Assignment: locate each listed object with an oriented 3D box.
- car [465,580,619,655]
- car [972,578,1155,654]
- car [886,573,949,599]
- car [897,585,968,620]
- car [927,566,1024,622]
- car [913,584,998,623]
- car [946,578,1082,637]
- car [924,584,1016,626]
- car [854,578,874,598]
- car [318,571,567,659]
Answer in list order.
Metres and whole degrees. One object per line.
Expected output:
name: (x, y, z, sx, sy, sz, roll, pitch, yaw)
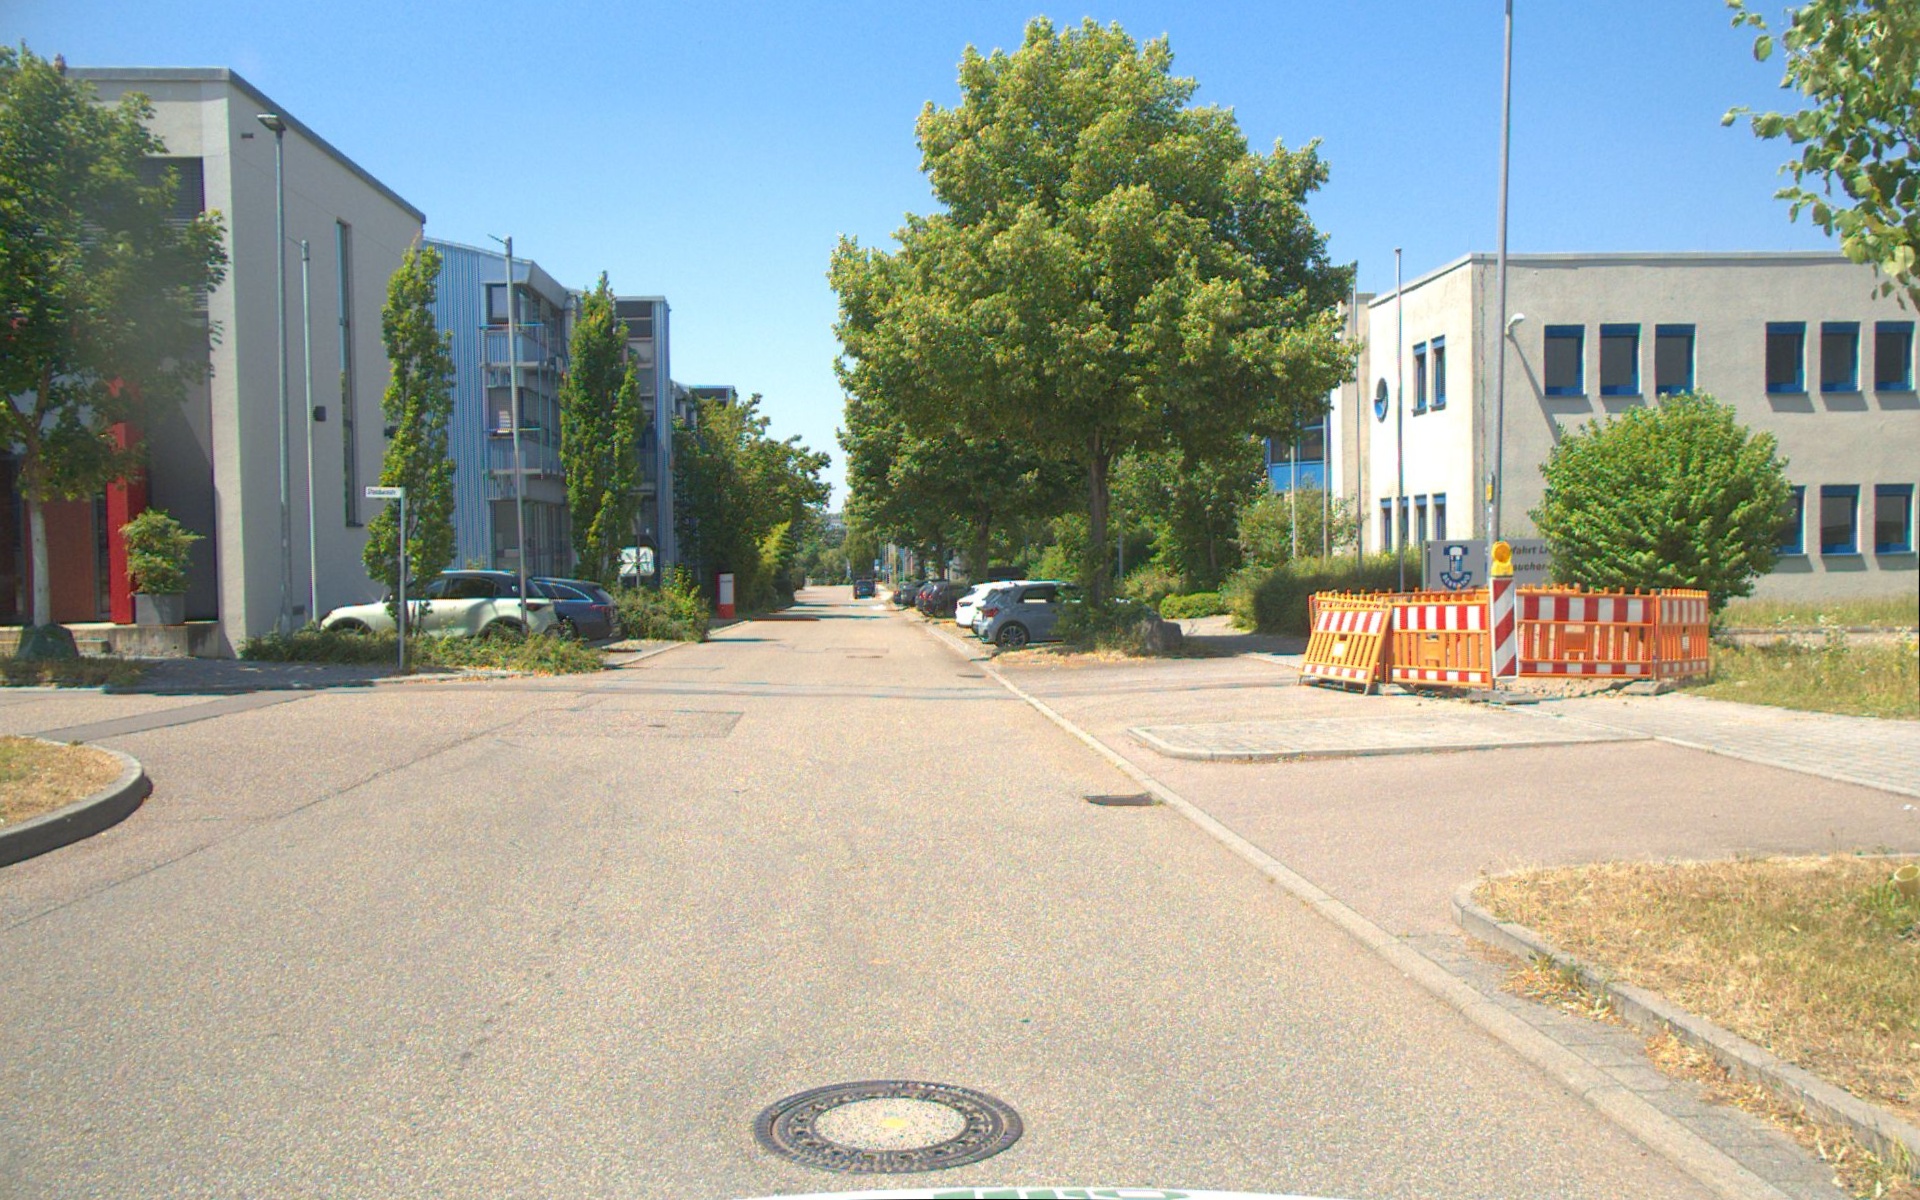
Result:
car: (-8.630, 0.355, 34.328, 3.002, 1.504, 1.289, 0, 0, -11)
car: (2.194, 0.329, 35.436, 3.611, 1.378, 1.642, -3, 0, -8)
car: (-2.744, -0.919, 106.958, 3.862, 1.604, 1.763, 0, 4, -11)
car: (-1.582, 0.138, 94.818, 3.862, 1.866, 1.763, 0, 4, -11)
car: (0.596, -0.221, 64.236, 3.648, 2.147, 1.812, 0, 0, -4)
car: (-0.228, 0.149, 72.576, 3.648, 1.655, 1.812, 0, 0, -4)
car: (1.442, 0.189, 45.146, 3.451, 1.378, 1.535, -3, 0, -8)
car: (0.395, 0.200, 67.548, 3.648, 1.655, 1.812, 0, 0, -4)
car: (-8.426, -1.045, 145.741, 1.726, 1.786, 3.942, 0, 0, -3)
car: (-9.145, 0.254, 29.487, 3.968, 1.521, 1.726, 0, 0, -6)
